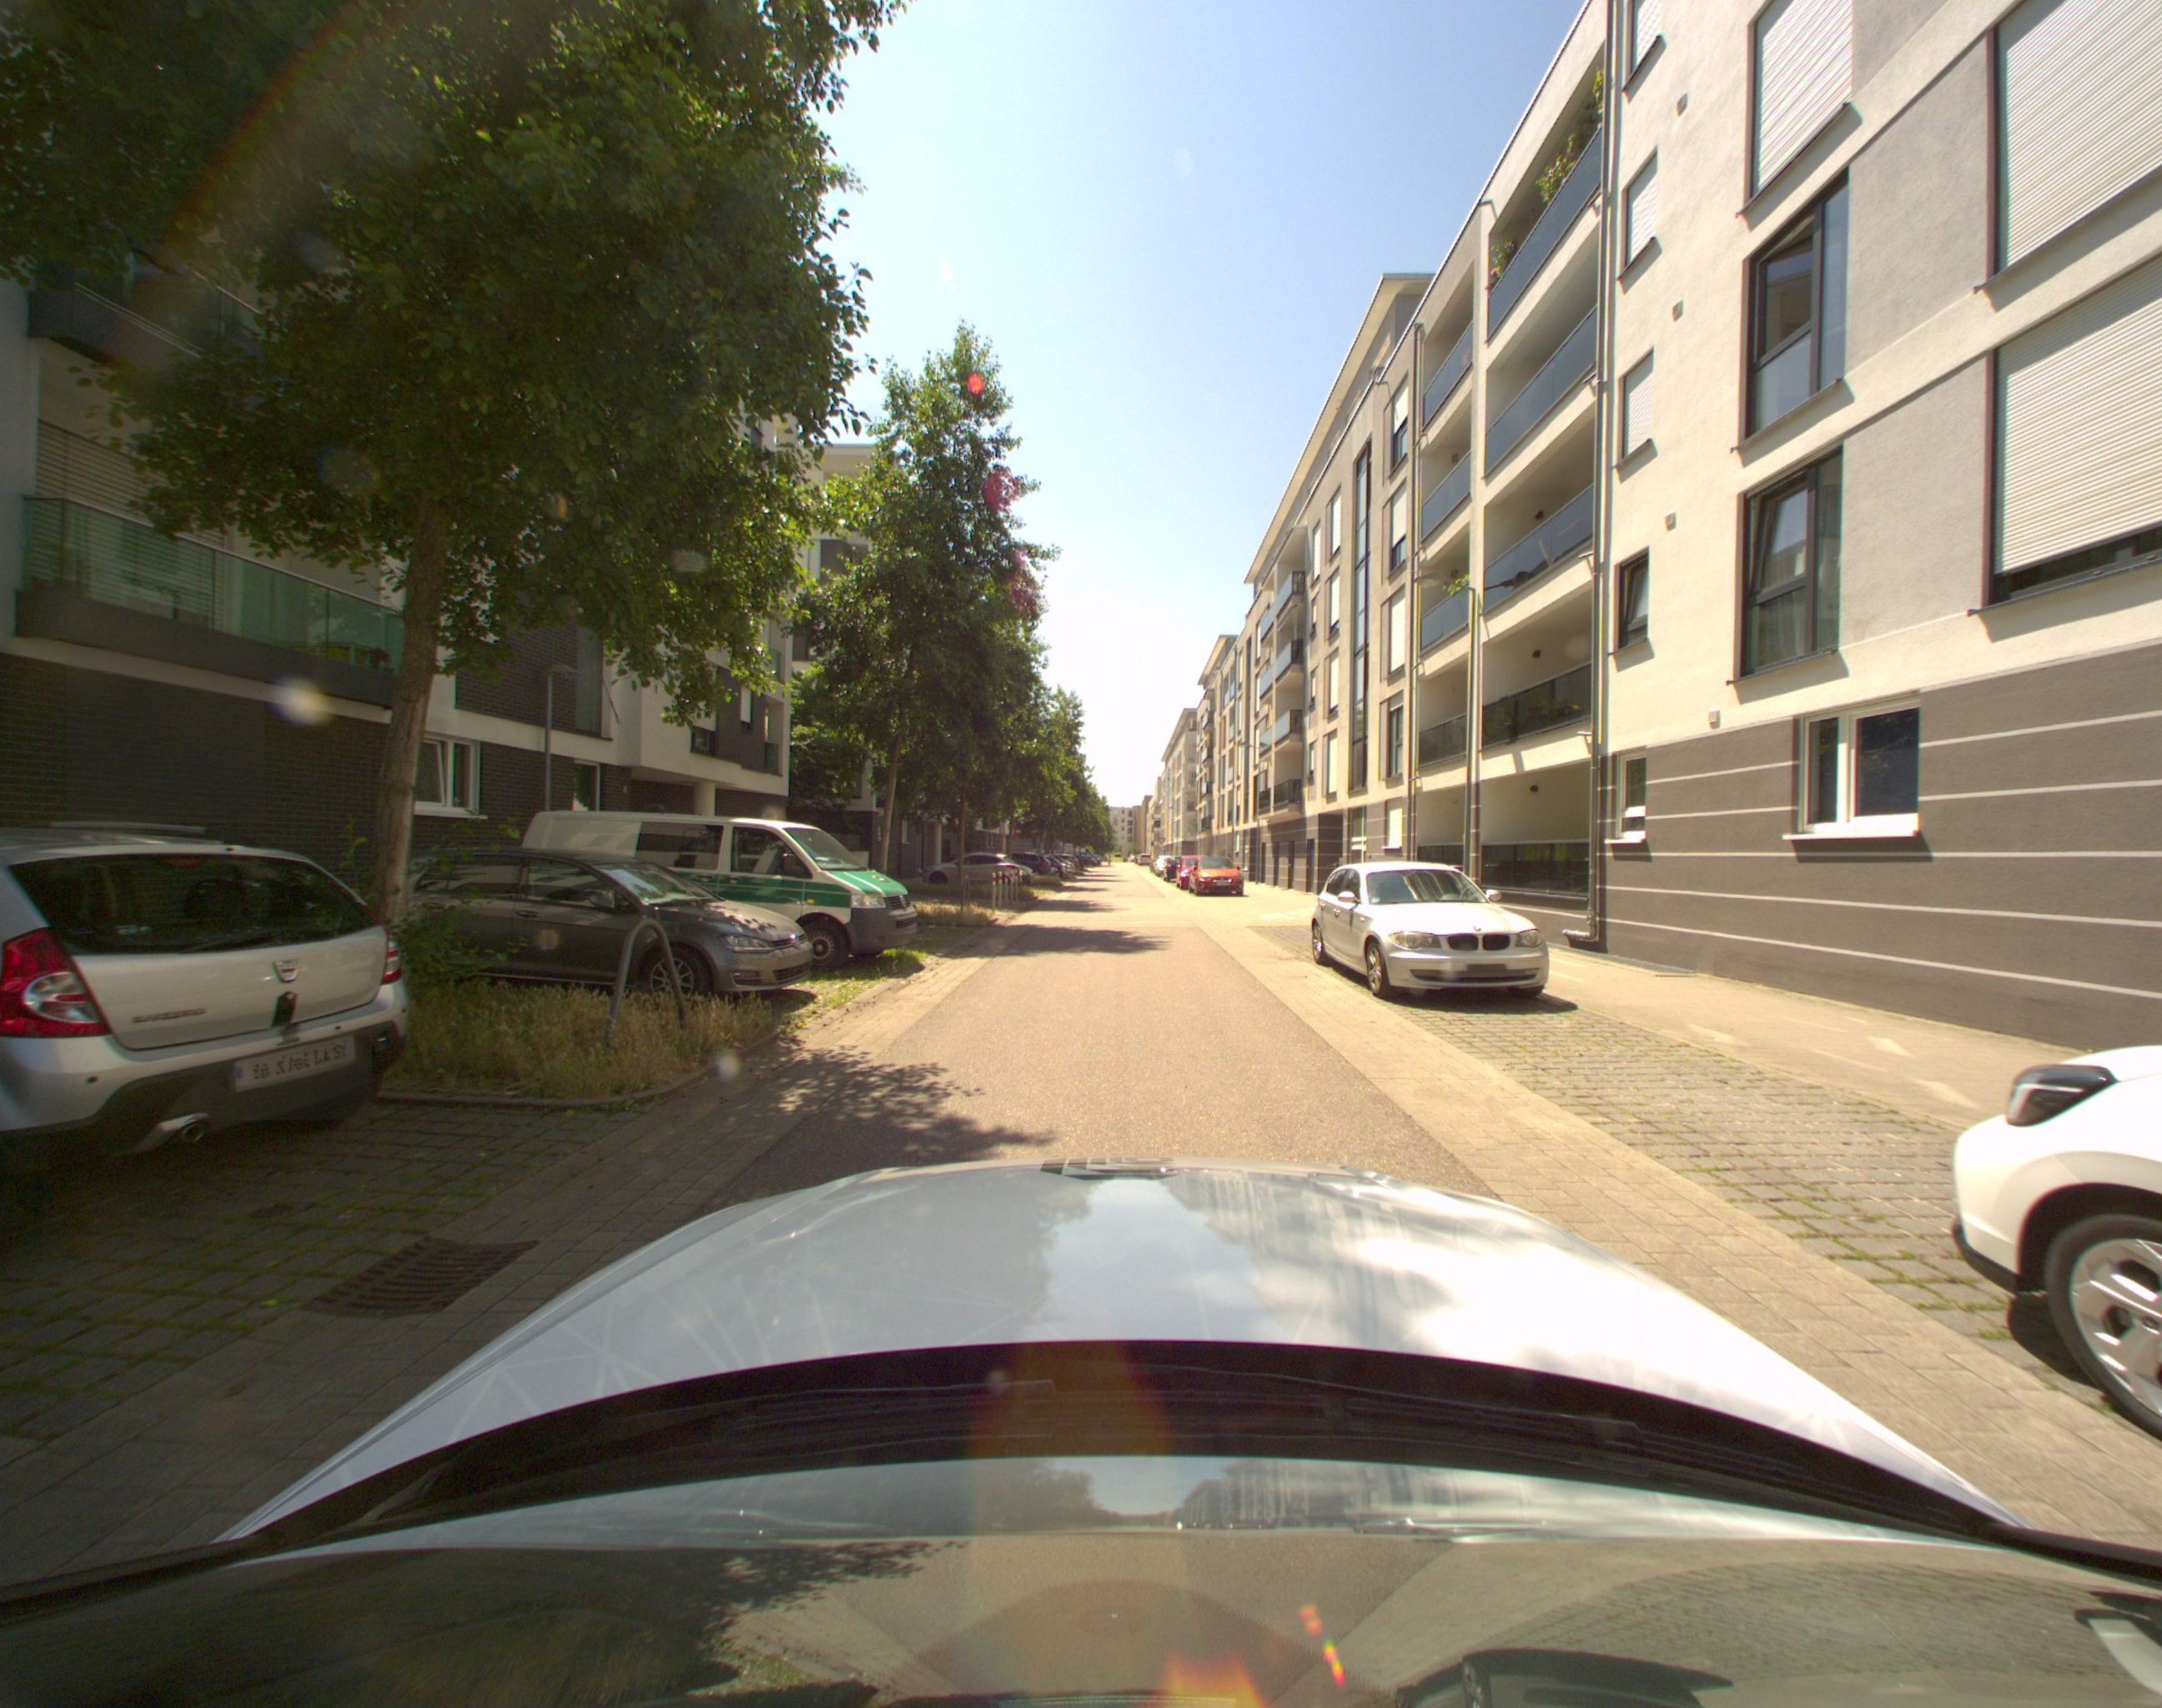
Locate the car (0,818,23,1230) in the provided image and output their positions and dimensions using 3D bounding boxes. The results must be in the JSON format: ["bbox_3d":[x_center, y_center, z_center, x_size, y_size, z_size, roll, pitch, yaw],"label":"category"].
[{"bbox_3d":[-5.163,0.596,1.116,4.547,1.594,1.964,3,0,-3],"label":"car"}]

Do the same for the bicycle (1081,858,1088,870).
[{"bbox_3d":[0.316,0.969,78.110,0.371,1.180,1.815,0,0,-9],"label":"bicycle"}]

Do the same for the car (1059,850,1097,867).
[{"bbox_3d":[-0.367,0.631,113.977,5.125,2.119,2.313,2,0,2],"label":"car"}]

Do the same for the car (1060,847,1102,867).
[{"bbox_3d":[0.024,0.440,119.402,6.000,2.816,2.607,0,0,2],"label":"car"}]

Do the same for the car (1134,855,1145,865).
[{"bbox_3d":[9.615,0.949,133.749,1.749,1.552,4.007,1,0,6],"label":"car"}]

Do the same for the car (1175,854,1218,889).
[{"bbox_3d":[5.161,0.755,36.754,1.589,1.485,3.678,-1,0,3],"label":"car"}]

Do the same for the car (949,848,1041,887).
[{"bbox_3d":[-3.981,0.615,38.207,3.970,1.591,1.885,2,0,3],"label":"car"}]

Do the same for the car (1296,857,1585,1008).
[{"bbox_3d":[4.043,0.762,10.054,1.838,1.416,4.430,1,0,3],"label":"car"}]

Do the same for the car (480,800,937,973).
[{"bbox_3d":[-4.909,0.385,11.299,5.318,2.110,2.190,0,0,4],"label":"car"}]

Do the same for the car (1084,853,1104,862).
[{"bbox_3d":[2.834,0.805,178.215,3.963,2.014,2.005,1,0,9],"label":"car"}]

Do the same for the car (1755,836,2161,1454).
[{"bbox_3d":[3.513,0.696,1.048,1.801,1.505,4.261,-1,0,1],"label":"car"}]

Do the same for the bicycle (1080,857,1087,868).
[{"bbox_3d":[0.276,1.005,96.620,0.569,1.174,1.766,4,1,-4],"label":"bicycle"}]

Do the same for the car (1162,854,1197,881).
[{"bbox_3d":[5.585,0.757,46.521,1.636,1.462,4.120,-1,0,2],"label":"car"}]

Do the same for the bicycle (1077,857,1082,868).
[{"bbox_3d":[-0.155,0.969,96.643,0.432,1.204,1.701,2,1,3],"label":"bicycle"}]

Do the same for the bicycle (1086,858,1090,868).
[{"bbox_3d":[0.874,1.066,96.817,0.464,1.141,1.926,0,0,1],"label":"bicycle"}]

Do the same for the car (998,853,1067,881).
[{"bbox_3d":[-2.846,0.760,48.259,3.963,1.445,1.774,2,0,-2],"label":"car"}]

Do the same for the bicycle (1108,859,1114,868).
[{"bbox_3d":[4.120,1.276,111.966,0.895,1.129,2.041,0,0,2],"label":"bicycle"}]

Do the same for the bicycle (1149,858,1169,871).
[{"bbox_3d":[7.192,0.943,74.901,1.850,1.193,0.688,0,-1,5],"label":"bicycle"}]

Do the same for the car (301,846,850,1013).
[{"bbox_3d":[-4.907,0.693,8.452,4.405,1.490,2.000,1,0,0],"label":"car"}]

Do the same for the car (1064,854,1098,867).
[{"bbox_3d":[0.047,0.868,106.765,4.365,1.515,2.076,3,0,2],"label":"car"}]

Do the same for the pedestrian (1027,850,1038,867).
[{"bbox_3d":[-4.865,0.487,81.108,0.995,1.690,0.833,0,0,4],"label":"pedestrian"}]

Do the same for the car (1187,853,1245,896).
[{"bbox_3d":[5.104,0.735,31.214,1.730,1.487,4.261,-1,0,3],"label":"car"}]

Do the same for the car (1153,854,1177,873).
[{"bbox_3d":[6.817,0.773,66.210,1.732,1.485,4.232,0,0,3],"label":"car"}]

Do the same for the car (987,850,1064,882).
[{"bbox_3d":[-3.082,0.650,45.620,3.969,1.651,1.920,2,0,4],"label":"car"}]

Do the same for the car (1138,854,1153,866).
[{"bbox_3d":[9.001,0.797,113.636,1.989,1.657,4.118,0,0,3],"label":"car"}]

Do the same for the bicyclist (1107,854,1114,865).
[{"bbox_3d":[4.097,0.757,111.916,0.950,1.459,0.800,0,0,2],"label":"bicyclist"}]

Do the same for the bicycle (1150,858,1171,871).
[{"bbox_3d":[7.092,0.929,72.539,1.838,1.148,0.458,0,-1,-17],"label":"bicycle"}]

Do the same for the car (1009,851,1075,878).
[{"bbox_3d":[-2.610,0.715,55.276,4.346,1.710,2.000,-1,0,0],"label":"car"}]

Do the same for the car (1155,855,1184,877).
[{"bbox_3d":[6.241,0.815,57.901,1.826,1.505,4.353,-1,0,3],"label":"car"}]

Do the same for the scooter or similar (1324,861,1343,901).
[{"bbox_3d":[8.146,0.857,26.297,0.541,1.225,1.536,1,0,17],"label":"scooter or similar"}]

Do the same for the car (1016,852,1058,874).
[{"bbox_3d":[-3.250,0.659,60.725,2.922,1.500,1.849,3,0,1],"label":"car"}]

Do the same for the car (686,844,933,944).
[{"bbox_3d":[-4.568,0.650,14.080,3.610,1.481,1.679,2,0,1],"label":"car"}]

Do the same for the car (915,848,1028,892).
[{"bbox_3d":[-4.402,0.619,33.209,4.236,1.517,1.925,3,0,2],"label":"car"}]

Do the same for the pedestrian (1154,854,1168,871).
[{"bbox_3d":[7.084,0.752,72.083,1.177,1.515,0.686,0,0,-7],"label":"pedestrian"}]

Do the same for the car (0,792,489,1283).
[{"bbox_3d":[-5.285,0.562,3.763,3.666,1.676,1.853,2,0,2],"label":"car"}]

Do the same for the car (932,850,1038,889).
[{"bbox_3d":[-4.160,0.650,35.649,4.299,1.476,1.794,2,0,2],"label":"car"}]

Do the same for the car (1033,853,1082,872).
[{"bbox_3d":[-2.037,0.739,70.751,4.168,1.486,1.958,2,-1,-1],"label":"car"}]

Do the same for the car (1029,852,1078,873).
[{"bbox_3d":[-2.270,0.700,67.860,3.922,1.553,1.873,2,0,2],"label":"car"}]

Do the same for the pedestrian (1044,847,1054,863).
[{"bbox_3d":[-3.973,0.138,100.697,1.004,2.014,1.131,0,0,5],"label":"pedestrian"}]

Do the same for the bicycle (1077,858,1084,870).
[{"bbox_3d":[-0.045,0.995,78.095,0.434,1.128,1.972,0,0,-9],"label":"bicycle"}]

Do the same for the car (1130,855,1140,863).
[{"bbox_3d":[12.040,1.064,182.277,1.986,1.675,4.001,1,0,1],"label":"car"}]

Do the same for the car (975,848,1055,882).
[{"bbox_3d":[-3.449,0.578,43.105,3.971,1.629,1.934,2,0,2],"label":"car"}]

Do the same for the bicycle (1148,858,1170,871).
[{"bbox_3d":[6.977,0.956,72.909,1.911,1.133,0.611,0,-1,11],"label":"bicycle"}]
